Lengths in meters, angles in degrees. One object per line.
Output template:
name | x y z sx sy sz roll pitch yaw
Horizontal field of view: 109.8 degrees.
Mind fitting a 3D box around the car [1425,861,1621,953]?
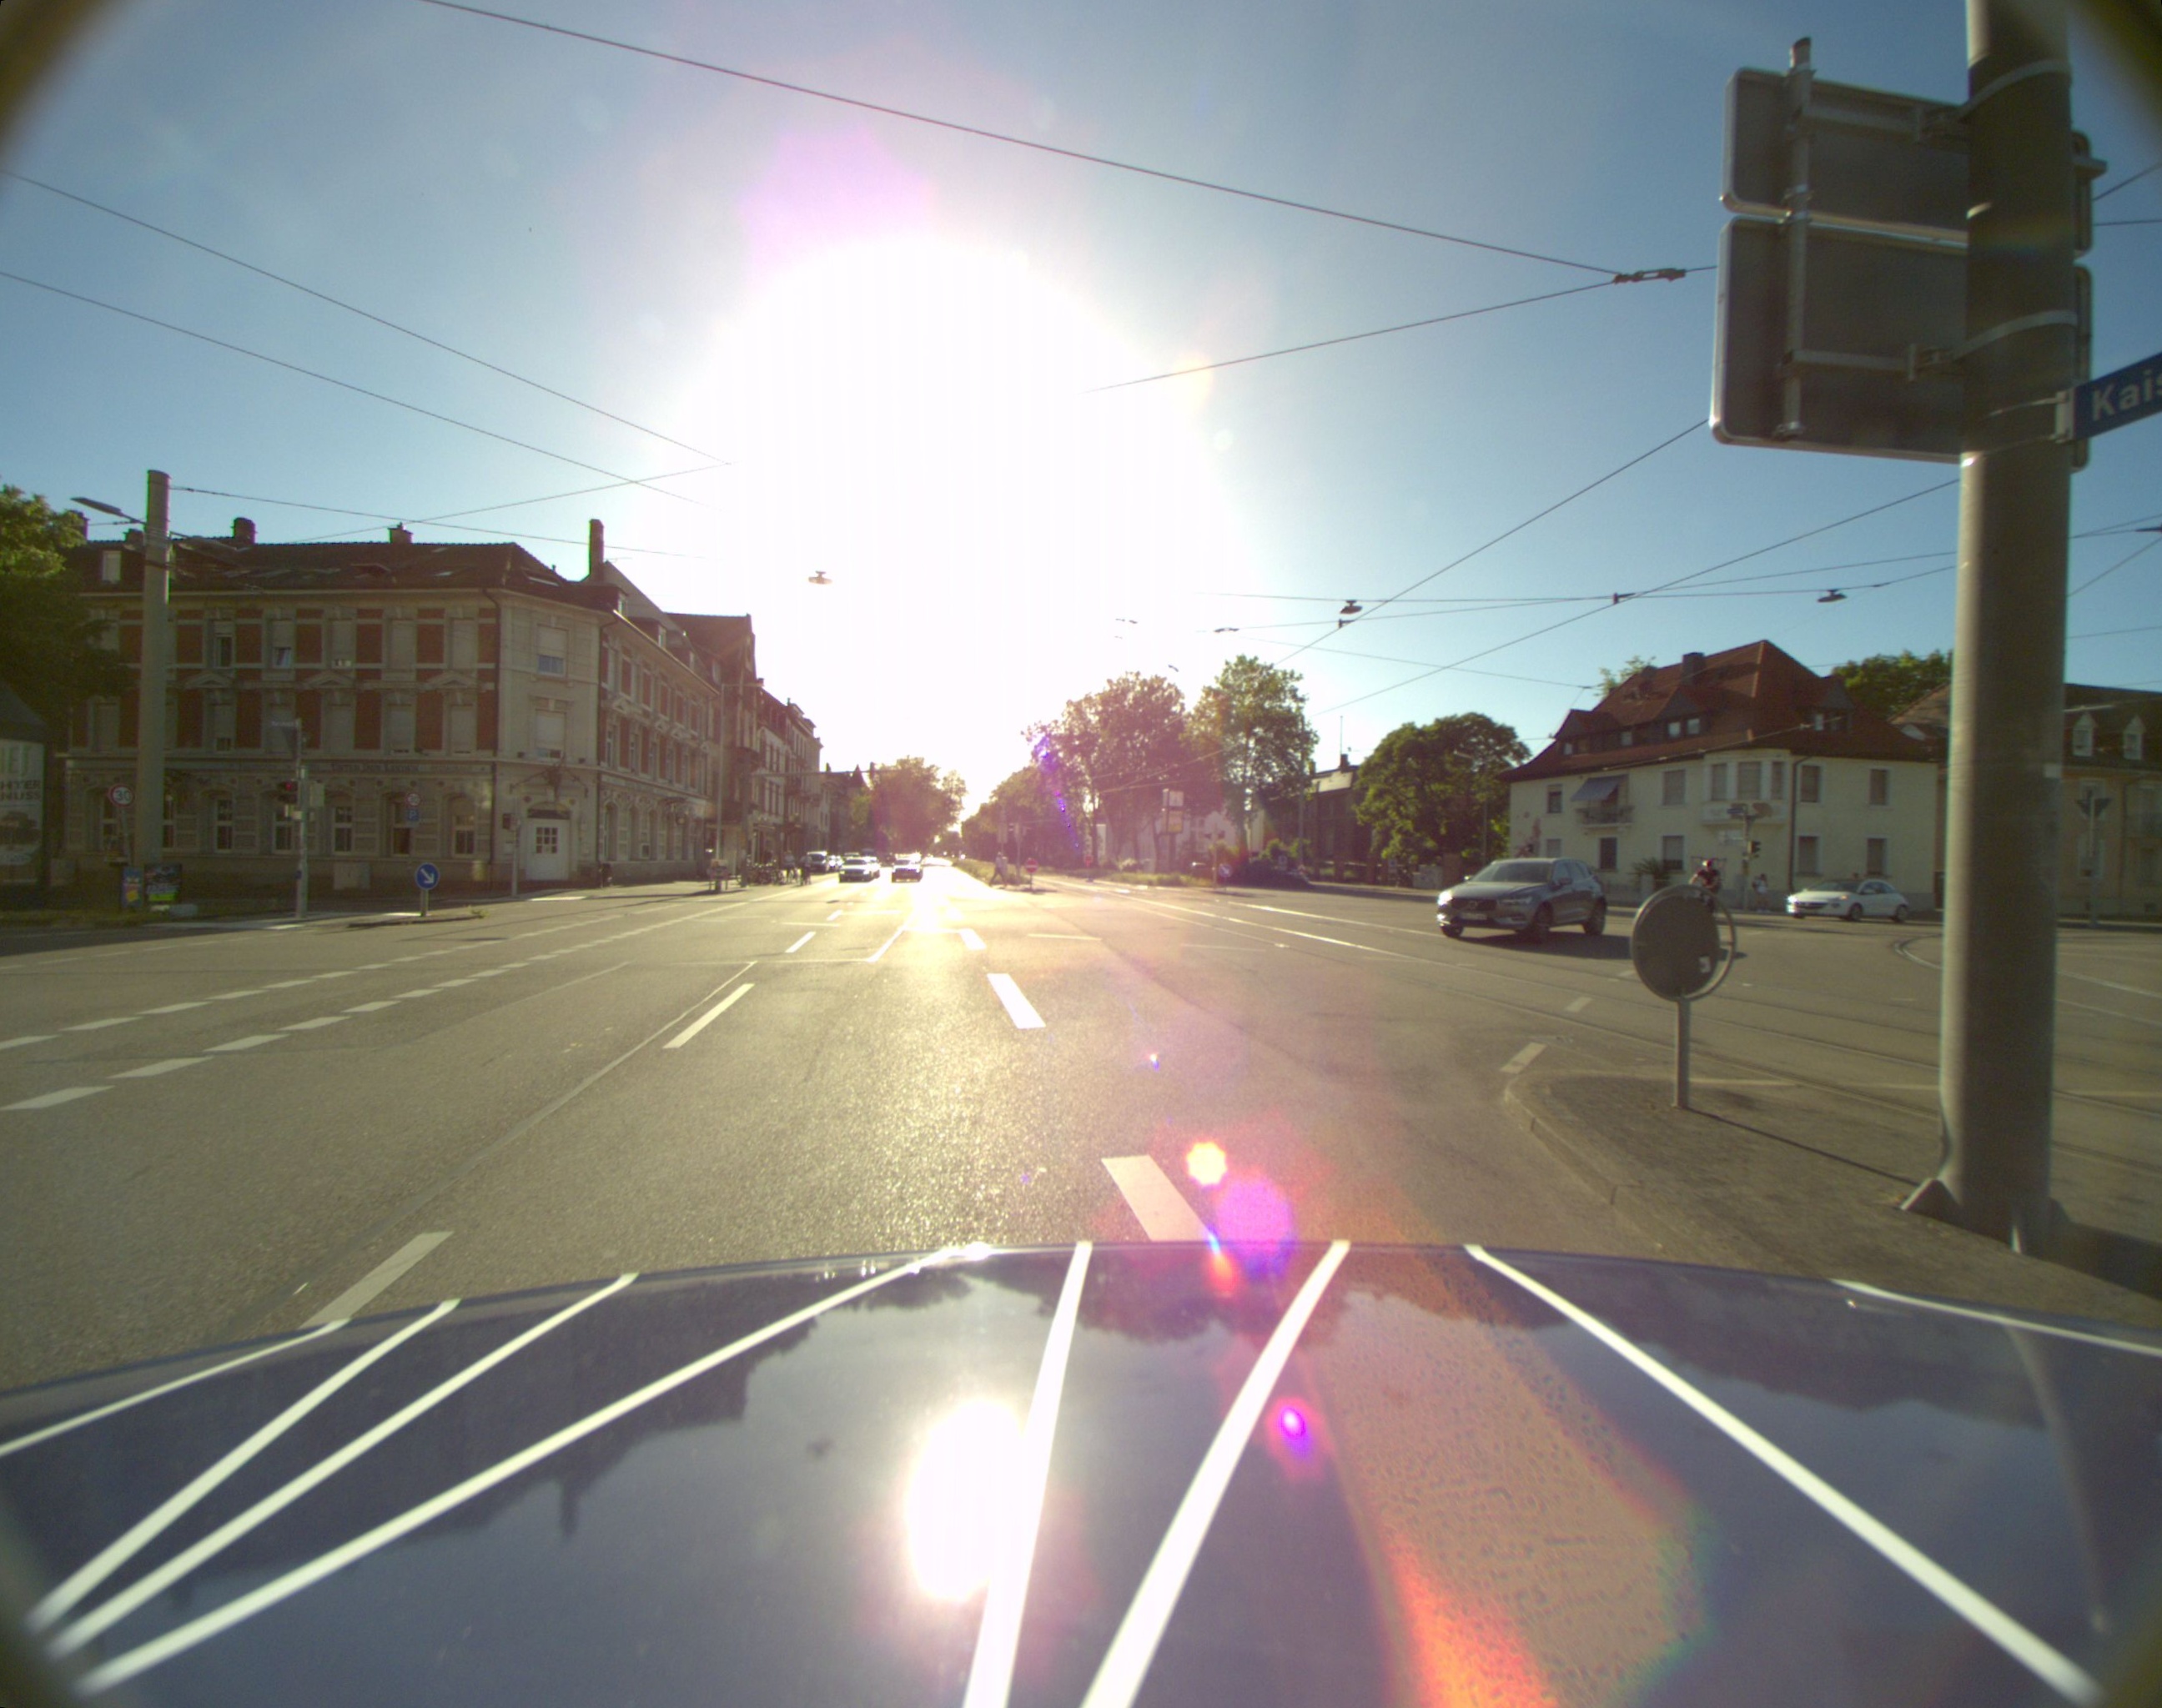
car | 9.313 1.001 15.884 4.512 1.621 1.913 1 0 -37

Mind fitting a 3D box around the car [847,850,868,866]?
car | -26.751 0.459 91.000 1.956 1.851 4.798 1 0 -11

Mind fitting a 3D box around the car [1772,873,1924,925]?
car | 26.763 1.554 26.533 4.507 1.621 1.915 1 0 -18

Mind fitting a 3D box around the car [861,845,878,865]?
car | -31.644 0.180 113.720 2.205 2.892 5.949 1 0 -18

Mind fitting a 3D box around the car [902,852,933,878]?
car | -11.098 0.704 51.865 1.956 1.658 3.995 1 0 -11

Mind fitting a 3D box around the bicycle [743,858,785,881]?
bicycle | -16.860 0.810 40.438 1.967 1.184 0.678 1 1 -10

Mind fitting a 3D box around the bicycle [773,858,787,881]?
bicycle | -16.813 0.848 42.407 0.680 1.184 1.963 1 0 -22

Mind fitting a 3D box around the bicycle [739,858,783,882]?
bicycle | -16.741 0.850 39.796 1.967 1.184 0.678 1 1 -10

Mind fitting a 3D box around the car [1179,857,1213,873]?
car | 11.837 1.107 78.659 1.920 1.445 4.496 1 0 -14

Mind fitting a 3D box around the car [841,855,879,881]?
car | -13.324 0.813 45.941 1.846 1.404 3.995 1 0 -11

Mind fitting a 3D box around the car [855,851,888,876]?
car | -14.527 0.628 52.851 1.956 1.658 3.995 1 0 -11

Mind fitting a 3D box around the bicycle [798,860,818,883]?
bicycle | -14.624 0.936 40.752 0.601 1.184 1.965 1 0 -8

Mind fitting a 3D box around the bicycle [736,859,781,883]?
bicycle | -16.587 0.859 39.108 1.967 1.184 0.678 1 1 -10

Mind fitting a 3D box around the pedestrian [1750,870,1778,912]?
pedestrian | 29.721 1.614 33.056 0.672 1.731 0.691 4 5 31

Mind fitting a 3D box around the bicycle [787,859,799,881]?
bicycle | -16.038 0.869 42.349 0.602 1.184 1.963 1 0 -20

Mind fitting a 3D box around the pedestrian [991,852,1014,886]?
pedestrian | -3.844 0.724 37.239 0.940 1.660 0.716 1 1 -18

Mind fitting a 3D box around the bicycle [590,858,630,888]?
bicycle | -19.157 0.756 30.957 0.546 1.184 1.966 1 0 -6

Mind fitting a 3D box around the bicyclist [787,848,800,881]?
bicyclist | -16.009 0.577 42.296 0.602 1.753 0.904 1 1 -21

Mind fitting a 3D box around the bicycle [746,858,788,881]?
bicycle | -16.976 0.826 41.106 1.967 1.184 0.678 1 1 -10

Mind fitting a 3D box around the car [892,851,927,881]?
car | -10.437 0.697 46.381 1.956 1.658 3.995 1 0 -11

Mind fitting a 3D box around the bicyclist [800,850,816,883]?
bicyclist | -14.614 0.658 40.685 0.601 1.753 0.875 1 1 -8

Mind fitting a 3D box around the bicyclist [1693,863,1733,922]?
bicyclist | 18.804 1.134 22.607 0.663 1.709 0.600 1 1 -11

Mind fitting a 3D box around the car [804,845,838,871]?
car | -21.019 0.296 61.552 1.956 1.953 4.413 1 0 -11

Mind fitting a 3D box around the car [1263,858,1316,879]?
car | 15.928 1.095 58.222 1.920 1.445 4.496 1 0 -14

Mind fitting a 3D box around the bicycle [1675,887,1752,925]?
bicycle | 18.800 1.549 22.592 1.991 1.050 0.600 1 1 -11
